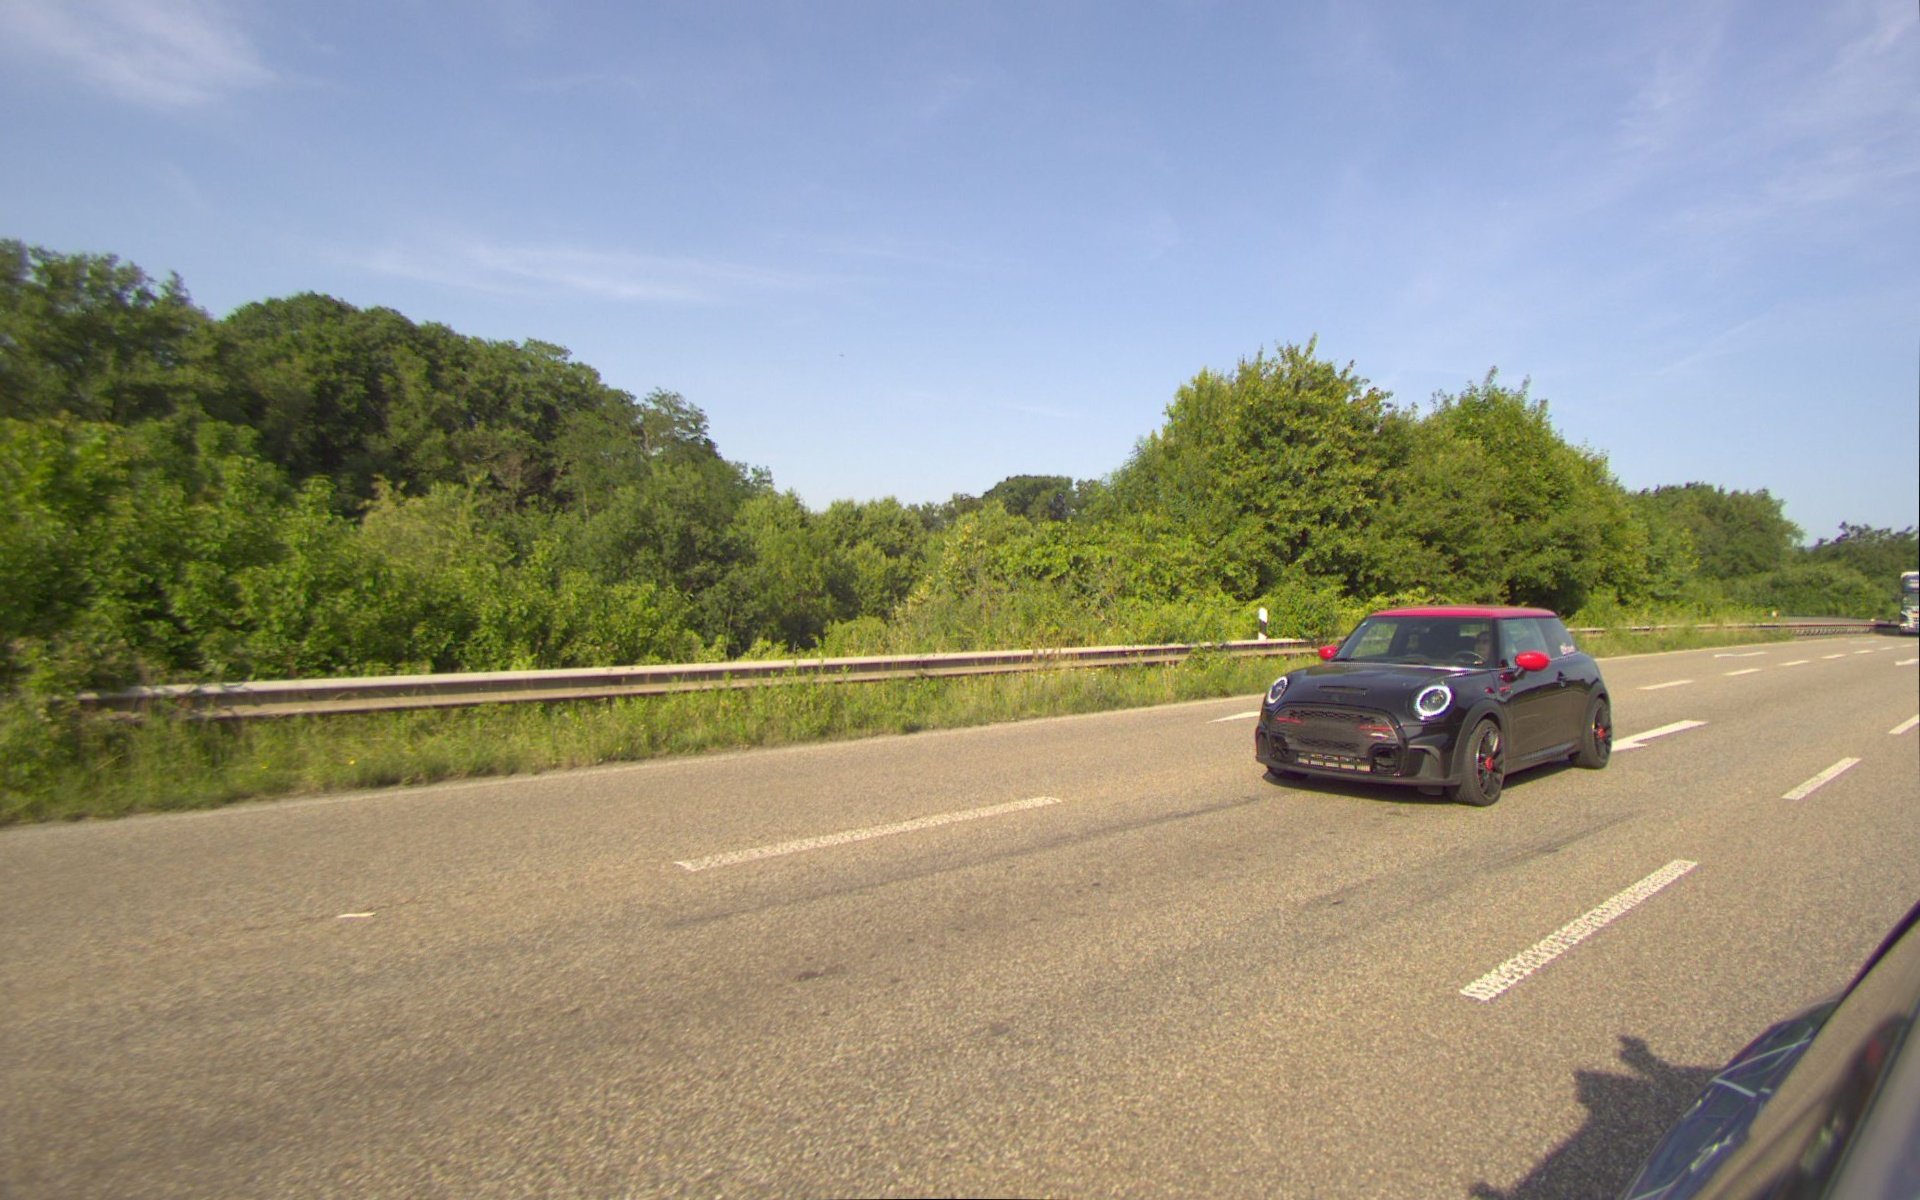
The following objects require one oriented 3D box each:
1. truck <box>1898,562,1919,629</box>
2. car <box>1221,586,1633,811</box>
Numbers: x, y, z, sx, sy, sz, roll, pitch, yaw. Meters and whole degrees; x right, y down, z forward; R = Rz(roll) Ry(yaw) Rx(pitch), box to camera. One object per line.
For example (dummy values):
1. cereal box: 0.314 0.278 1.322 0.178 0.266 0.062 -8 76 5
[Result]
1. truck: 63.600 -0.289 65.217 14.311 4.070 3.194 0 0 -42
2. car: 4.093 0.639 8.619 3.805 1.486 1.822 0 0 -41
